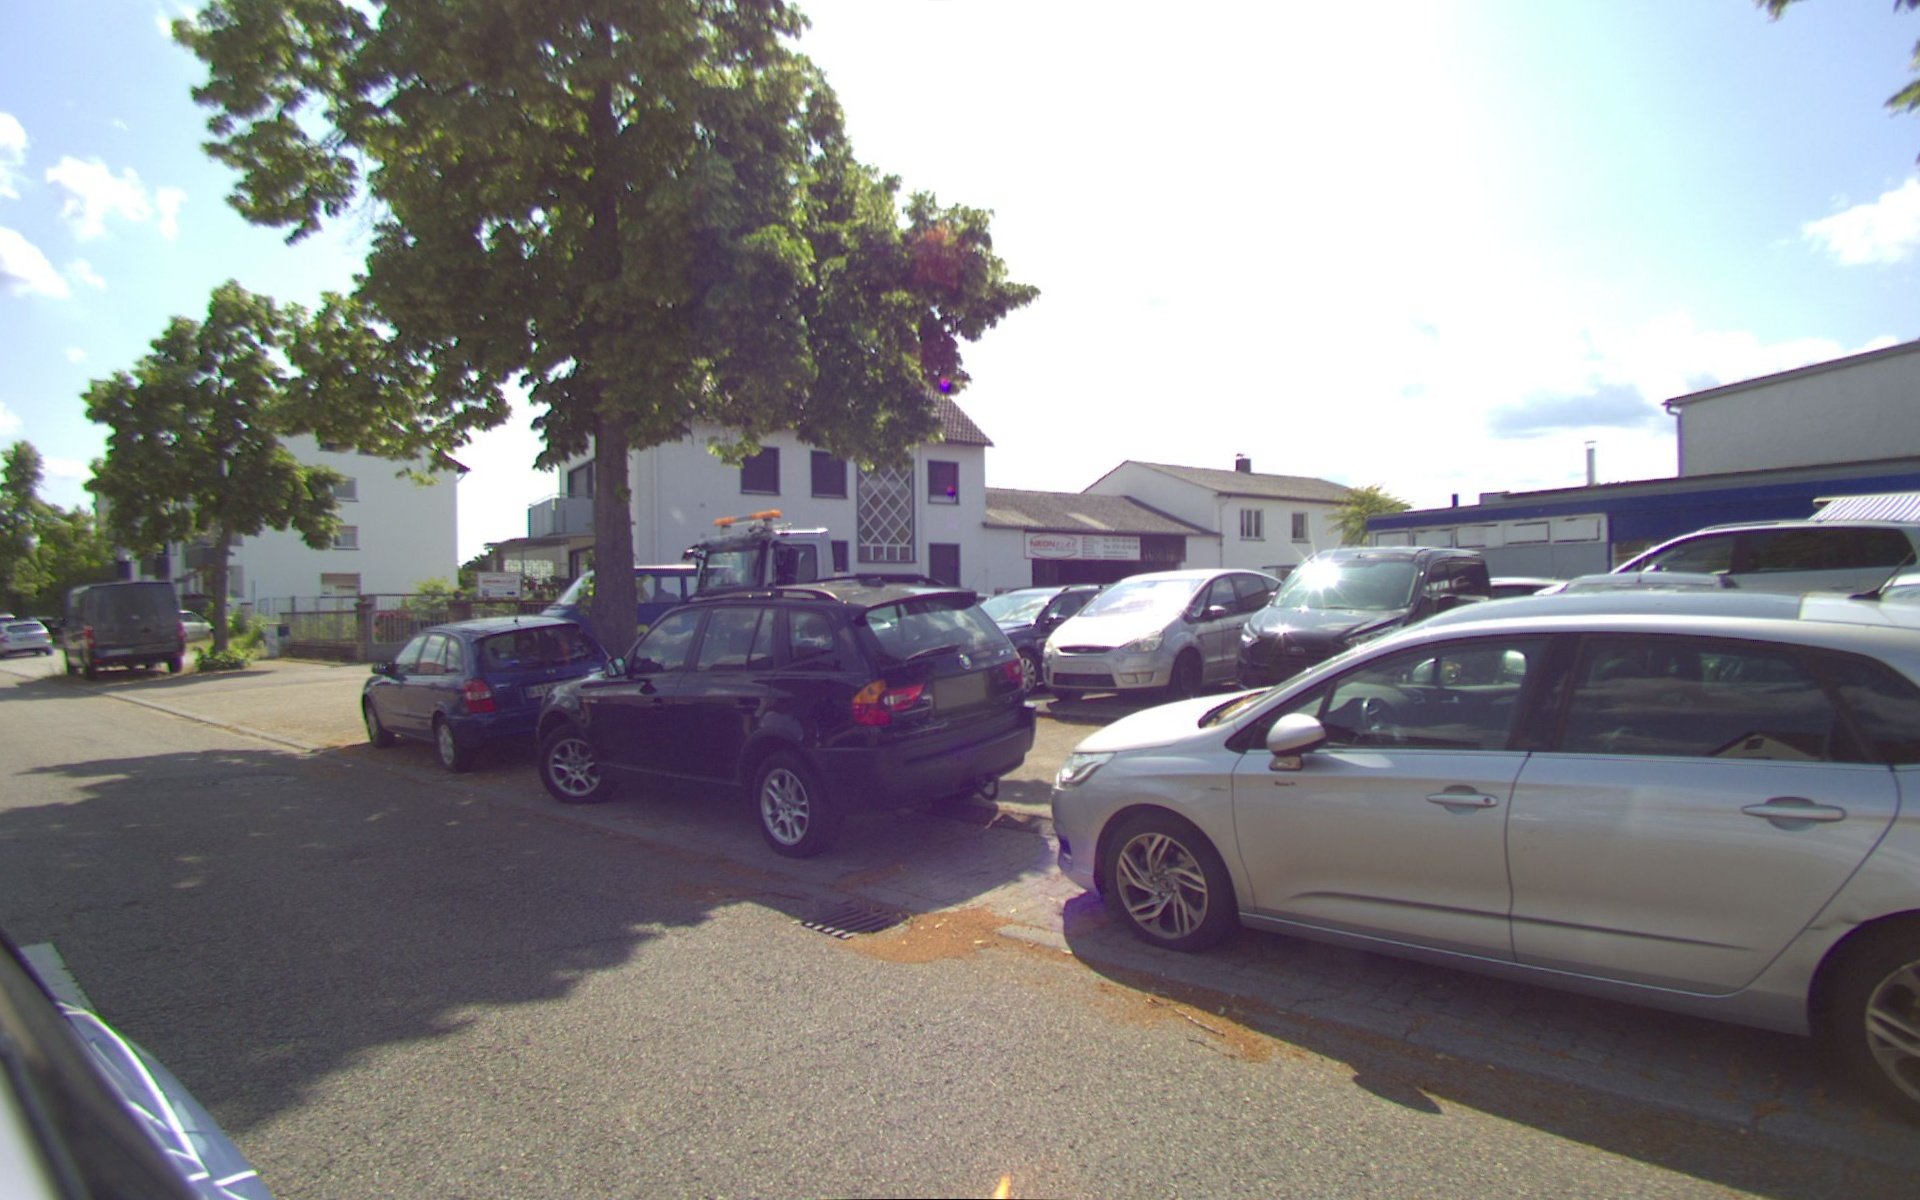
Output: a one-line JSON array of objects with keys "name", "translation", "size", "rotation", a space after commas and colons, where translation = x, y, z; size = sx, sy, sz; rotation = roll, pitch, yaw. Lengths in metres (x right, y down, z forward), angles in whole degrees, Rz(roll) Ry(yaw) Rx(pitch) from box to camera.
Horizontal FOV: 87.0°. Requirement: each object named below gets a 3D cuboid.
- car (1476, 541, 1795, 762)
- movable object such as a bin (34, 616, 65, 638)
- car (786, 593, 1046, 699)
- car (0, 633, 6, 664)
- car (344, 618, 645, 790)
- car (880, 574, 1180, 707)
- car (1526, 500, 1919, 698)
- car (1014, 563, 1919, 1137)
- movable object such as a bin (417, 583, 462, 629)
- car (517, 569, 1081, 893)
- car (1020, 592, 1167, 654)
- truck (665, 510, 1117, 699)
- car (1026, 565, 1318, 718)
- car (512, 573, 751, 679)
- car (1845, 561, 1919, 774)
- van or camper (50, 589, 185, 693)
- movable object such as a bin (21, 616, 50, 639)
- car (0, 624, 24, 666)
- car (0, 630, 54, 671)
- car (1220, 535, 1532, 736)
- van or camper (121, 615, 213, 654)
[{"name": "car", "translation": [6.534, 0.382, 9.590], "size": [1.828, 1.631, 4.098], "rotation": [-1, 0, 44]}, {"name": "movable object such as a bin", "translation": [-63.098, 1.869, 70.126], "size": [1.288, 1.396, 1.284], "rotation": [-3, 0, 35]}, {"name": "car", "translation": [-0.591, 0.696, 16.138], "size": [1.678, 1.470, 4.150], "rotation": [-3, -3, 43]}, {"name": "car", "translation": [-48.469, 2.412, 50.026], "size": [3.925, 1.480, 1.605], "rotation": [-1, 2, 43]}, {"name": "car", "translation": [-5.254, 0.984, 11.137], "size": [1.680, 1.495, 4.161], "rotation": [-1, 0, -44]}, {"name": "car", "translation": [1.139, 0.547, 14.396], "size": [1.827, 1.594, 4.475], "rotation": [-3, -3, 43]}, {"name": "car", "translation": [9.174, 0.021, 12.061], "size": [3.995, 2.029, 1.694], "rotation": [-1, -1, 39]}, {"name": "car", "translation": [2.453, 0.682, 4.121], "size": [4.236, 1.539, 1.814], "rotation": [-2, 1, 43]}, {"name": "movable object such as a bin", "translation": [-18.767, 0.237, 36.454], "size": [1.291, 1.443, 1.607], "rotation": [-1, -7, -32]}, {"name": "car", "translation": [-1.423, 0.738, 7.548], "size": [4.398, 1.712, 1.676], "rotation": [-2, 1, 41]}, {"name": "car", "translation": [4.232, 0.660, 31.890], "size": [4.421, 1.805, 2.005], "rotation": [-1, 1, -36]}, {"name": "truck", "translation": [-0.843, 0.110, 19.593], "size": [9.151, 2.878, 2.722], "rotation": [0, -2, -44]}, {"name": "car", "translation": [2.852, 0.464, 12.944], "size": [1.826, 1.627, 4.250], "rotation": [-2, -1, 40]}, {"name": "car", "translation": [-7.623, 0.511, 23.701], "size": [4.934, 2.248, 2.005], "rotation": [-1, 1, -36]}, {"name": "car", "translation": [8.288, 0.450, 7.946], "size": [1.828, 1.441, 4.098], "rotation": [-1, 0, 44]}, {"name": "van or camper", "translation": [-22.239, 1.007, 26.620], "size": [5.935, 2.334, 1.972], "rotation": [-1, 3, 44]}, {"name": "movable object such as a bin", "translation": [-65.287, 1.933, 71.466], "size": [1.303, 1.497, 1.284], "rotation": [-3, 0, 35]}, {"name": "car", "translation": [-44.152, 2.079, 45.976], "size": [4.488, 1.819, 1.791], "rotation": [-2, 2, 41]}, {"name": "car", "translation": [-39.670, 2.126, 42.443], "size": [4.704, 1.472, 1.732], "rotation": [-3, 2, 39]}, {"name": "car", "translation": [4.732, 0.324, 11.199], "size": [1.828, 1.802, 4.098], "rotation": [-1, 0, 44]}, {"name": "van or camper", "translation": [-36.398, 1.556, 46.583], "size": [1.752, 1.554, 4.011], "rotation": [-2, 1, -13]}]
